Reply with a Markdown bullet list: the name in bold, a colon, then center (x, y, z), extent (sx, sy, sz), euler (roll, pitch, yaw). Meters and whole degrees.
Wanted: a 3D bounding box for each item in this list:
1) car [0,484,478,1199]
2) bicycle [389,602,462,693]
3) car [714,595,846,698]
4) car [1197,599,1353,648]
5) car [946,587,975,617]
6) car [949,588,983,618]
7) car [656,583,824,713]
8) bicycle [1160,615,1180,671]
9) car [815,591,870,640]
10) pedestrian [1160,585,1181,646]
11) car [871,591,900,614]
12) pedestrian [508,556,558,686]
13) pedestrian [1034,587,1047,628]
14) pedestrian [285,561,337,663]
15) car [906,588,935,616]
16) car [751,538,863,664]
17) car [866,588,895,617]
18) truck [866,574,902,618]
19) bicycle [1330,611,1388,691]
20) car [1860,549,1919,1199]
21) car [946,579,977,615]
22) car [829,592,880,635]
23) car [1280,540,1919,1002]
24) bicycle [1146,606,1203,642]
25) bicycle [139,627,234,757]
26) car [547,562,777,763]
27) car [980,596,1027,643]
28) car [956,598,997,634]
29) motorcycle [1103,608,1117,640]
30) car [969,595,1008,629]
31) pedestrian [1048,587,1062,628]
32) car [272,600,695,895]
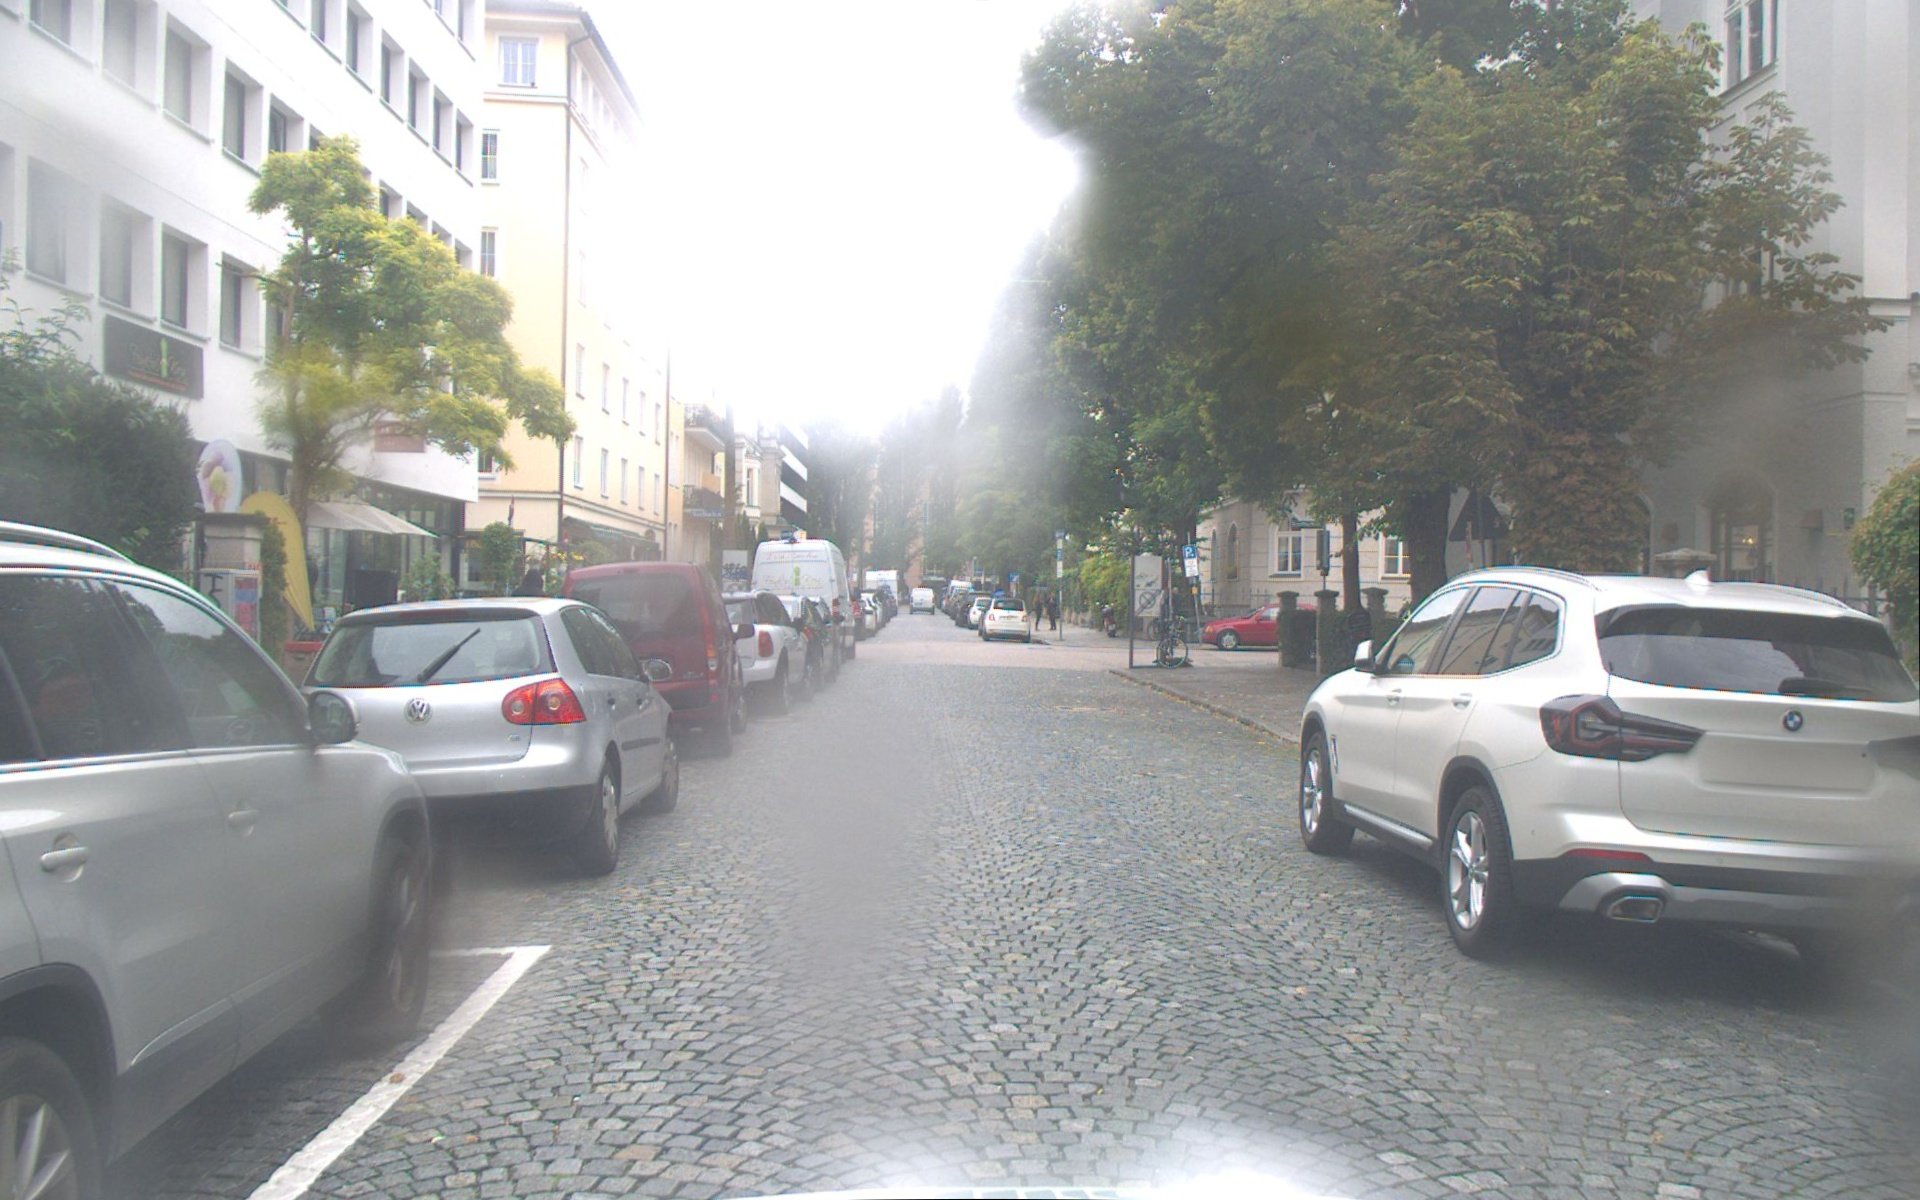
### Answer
- **car**: center (-2.536, 0.594, 4.109), extent (1.656, 1.600, 4.065), euler (1, 0, -3)
- **bicycle**: center (-7.378, 0.638, 22.901), extent (0.353, 1.195, 1.911), euler (1, 0, 1)
- **car**: center (-2.857, 0.690, 27.085), extent (1.691, 1.490, 4.472), euler (-2, 0, -1)
- **car**: center (9.255, 0.680, 48.872), extent (4.372, 1.382, 1.761), euler (0, 0, 6)
- **car**: center (0.021, 0.171, 117.403), extent (1.764, 1.983, 4.858), euler (3, 0, -2)
- **car**: center (0.369, 0.189, 104.271), extent (1.924, 1.789, 4.952), euler (1, 0, -2)
- **car**: center (-2.802, 0.585, 21.796), extent (1.658, 1.530, 3.777), euler (1, 0, 0)
- **bicycle**: center (4.516, 0.917, 35.621), extent (0.380, 1.167, 1.590), euler (0, 0, 5)
- **car**: center (-4.076, 0.526, 57.779), extent (1.815, 1.614, 4.745), euler (1, 0, -3)
- **pedestrian**: center (6.626, 0.481, 52.074), extent (0.484, 1.909, 0.742), euler (1, -1, -6)
- **car**: center (-4.966, 0.178, 110.172), extent (1.901, 1.485, 4.055), euler (1, 0, -3)
- **pedestrian**: center (-6.279, 0.308, 24.343), extent (0.602, 1.872, 0.812), euler (1, 0, -8)
- **pedestrian**: center (3.652, 0.340, 75.100), extent (0.563, 1.882, 0.682), euler (1, 0, 6)
- **pedestrian**: center (-11.028, 0.197, 28.122), extent (0.544, 1.689, 0.783), euler (1, 1, 1)
- **car**: center (-2.829, 0.148, 118.856), extent (1.956, 1.970, 3.999), euler (1, 0, 0)
- **car**: center (-3.386, 0.032, 37.632), extent (1.936, 2.619, 5.794), euler (-1, 0, 0)
- **car**: center (-5.038, 0.164, 104.800), extent (1.738, 1.748, 4.388), euler (1, 0, -3)
- **truck**: center (-5.605, -0.307, 121.778), extent (2.458, 3.084, 6.381), euler (-1, 1, -3)
- **bicycle**: center (6.465, 0.811, 26.882), extent (0.419, 1.219, 1.730), euler (-4, 0, -1)
- **car**: center (3.203, 0.699, 1.961), extent (1.712, 1.628, 4.470), euler (1, 0, -2)
- **car**: center (0.085, -0.232, 122.907), extent (1.857, 2.468, 5.608), euler (4, 0, -2)
- **car**: center (-3.960, 0.486, 62.649), extent (1.738, 1.563, 4.539), euler (1, 0, -2)
- **car**: center (3.071, 0.670, 8.513), extent (1.881, 1.715, 4.632), euler (1, -1, -1)
- **bicycle**: center (7.033, 0.789, 54.122), extent (1.798, 1.144, 0.563), euler (1, 0, 12)
- **bicycle**: center (-7.276, 0.834, 15.613), extent (0.252, 1.097, 1.684), euler (1, 1, -6)
- **car**: center (-2.847, 0.556, 16.554), extent (1.683, 1.753, 3.897), euler (-1, 0, -2)
- **car**: center (1.493, 0.669, 57.971), extent (1.471, 1.496, 3.795), euler (3, 0, -1)
- **car**: center (0.795, 0.787, 83.763), extent (1.837, 1.702, 5.488), euler (-1, 0, -2)
- **motorcycle**: center (5.329, 0.858, 58.786), extent (0.355, 1.109, 1.403), euler (1, 0, 1)
- **car**: center (1.329, 0.575, 78.577), extent (1.597, 1.495, 3.657), euler (3, 0, -2)
- **pedestrian**: center (4.336, 0.352, 75.415), extent (0.615, 1.840, 0.660), euler (1, -1, 4)
- **car**: center (-2.619, 0.728, 9.960), extent (1.599, 1.418, 3.814), euler (1, 0, -3)
